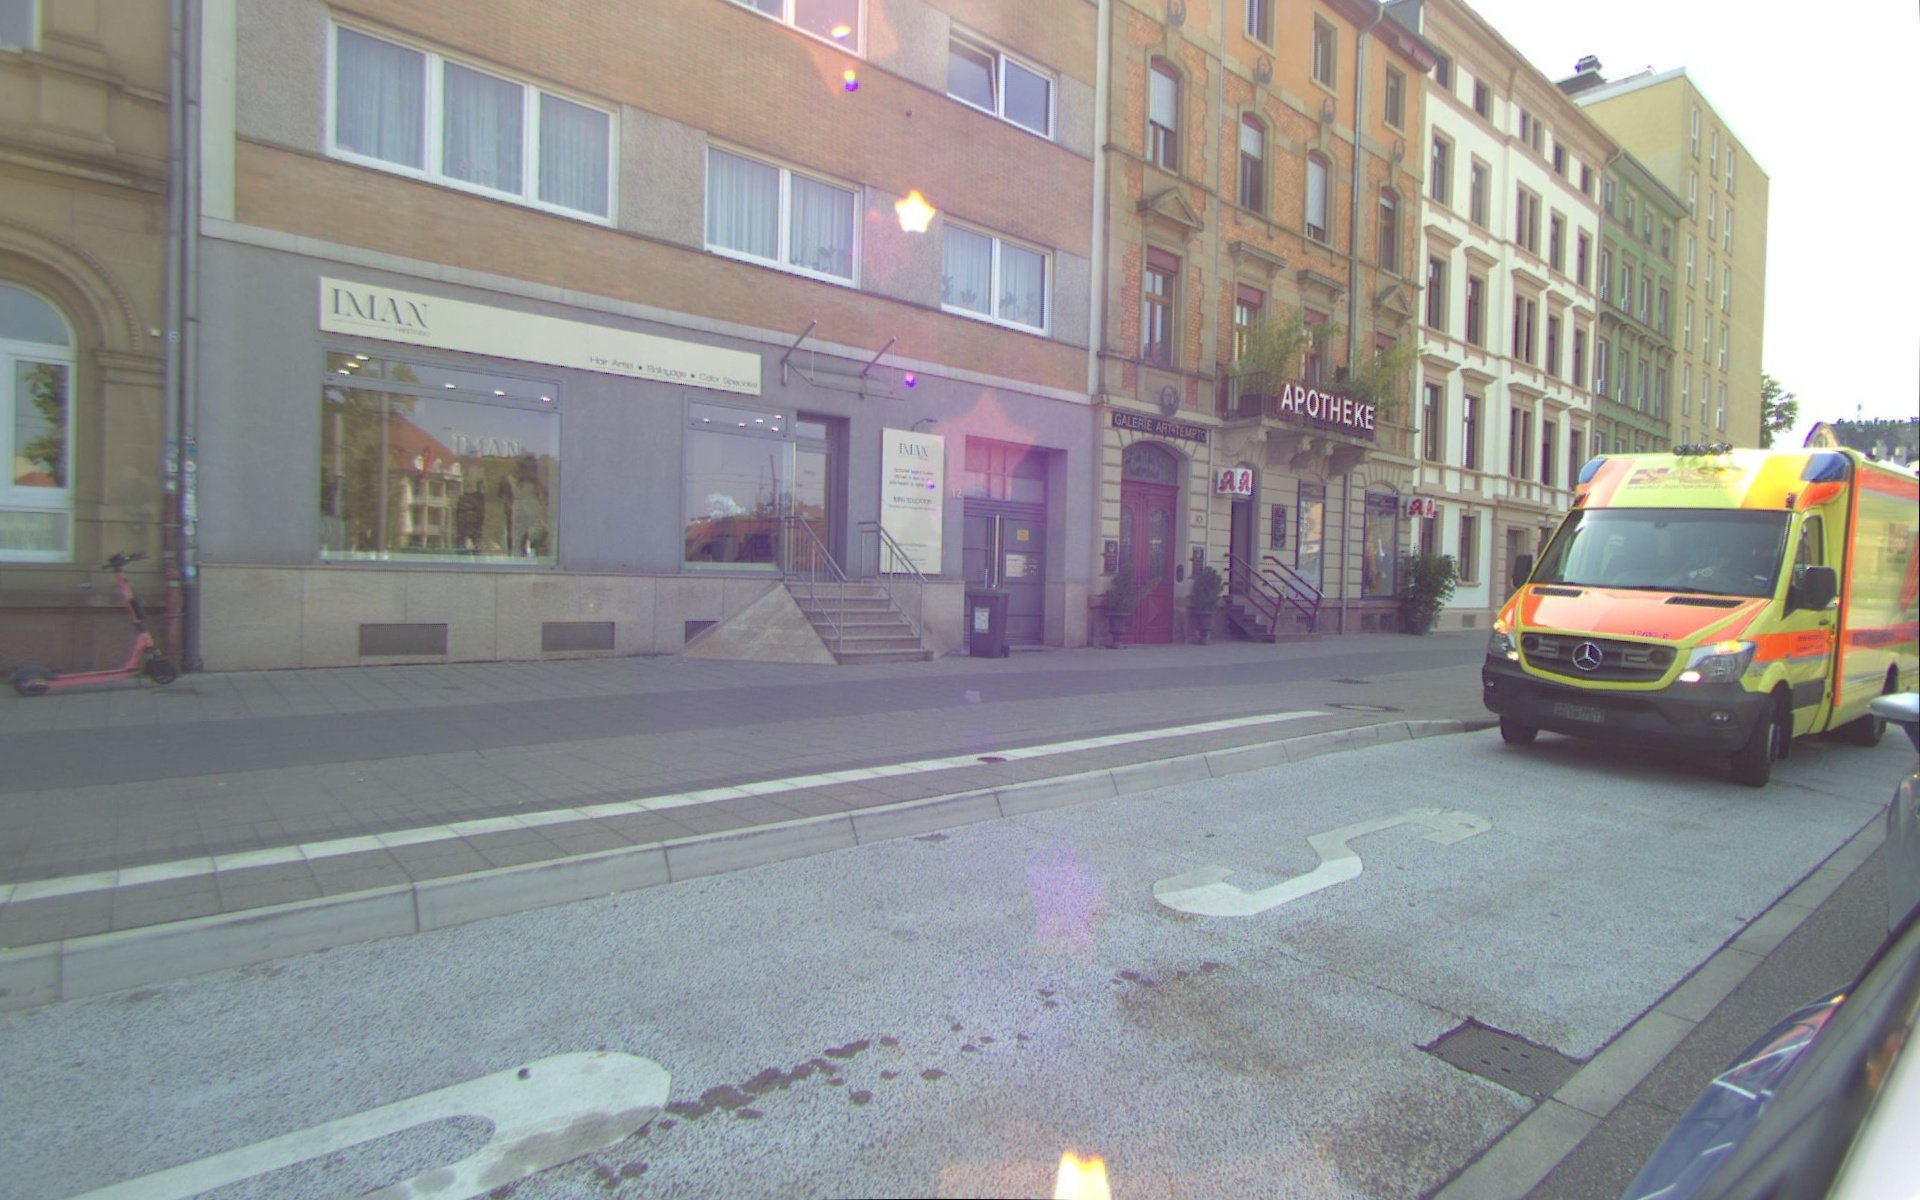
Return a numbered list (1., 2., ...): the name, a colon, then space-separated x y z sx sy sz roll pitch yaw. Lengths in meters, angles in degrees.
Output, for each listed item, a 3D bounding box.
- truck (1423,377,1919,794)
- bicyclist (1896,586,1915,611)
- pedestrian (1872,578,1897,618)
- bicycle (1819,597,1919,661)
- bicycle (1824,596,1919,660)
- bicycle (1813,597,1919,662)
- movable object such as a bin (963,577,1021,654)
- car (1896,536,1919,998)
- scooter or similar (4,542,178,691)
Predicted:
1. truck: 7.217 -0.172 9.624 6.221 2.803 2.336 0 4 -37
2. bicyclist: 60.465 -0.099 64.707 1.083 1.606 0.721 1 1 -40
3. pedestrian: 38.741 -0.098 42.412 0.783 1.648 0.645 0 2 -41
4. bicycle: 18.321 0.567 20.129 0.427 1.219 1.841 1 0 -39
5. bicycle: 18.668 0.555 20.421 0.427 1.235 1.841 1 0 -39
6. bicycle: 17.985 0.568 19.864 0.427 1.219 1.841 1 0 -39
7. movable object such as a bin: 0.502 0.222 15.667 0.640 1.118 0.723 3 2 24
8. car: 5.354 0.598 4.171 3.929 1.608 1.728 0 1 -40
9. scooter or similar: -7.640 0.129 8.918 0.476 1.227 1.124 3 2 44
